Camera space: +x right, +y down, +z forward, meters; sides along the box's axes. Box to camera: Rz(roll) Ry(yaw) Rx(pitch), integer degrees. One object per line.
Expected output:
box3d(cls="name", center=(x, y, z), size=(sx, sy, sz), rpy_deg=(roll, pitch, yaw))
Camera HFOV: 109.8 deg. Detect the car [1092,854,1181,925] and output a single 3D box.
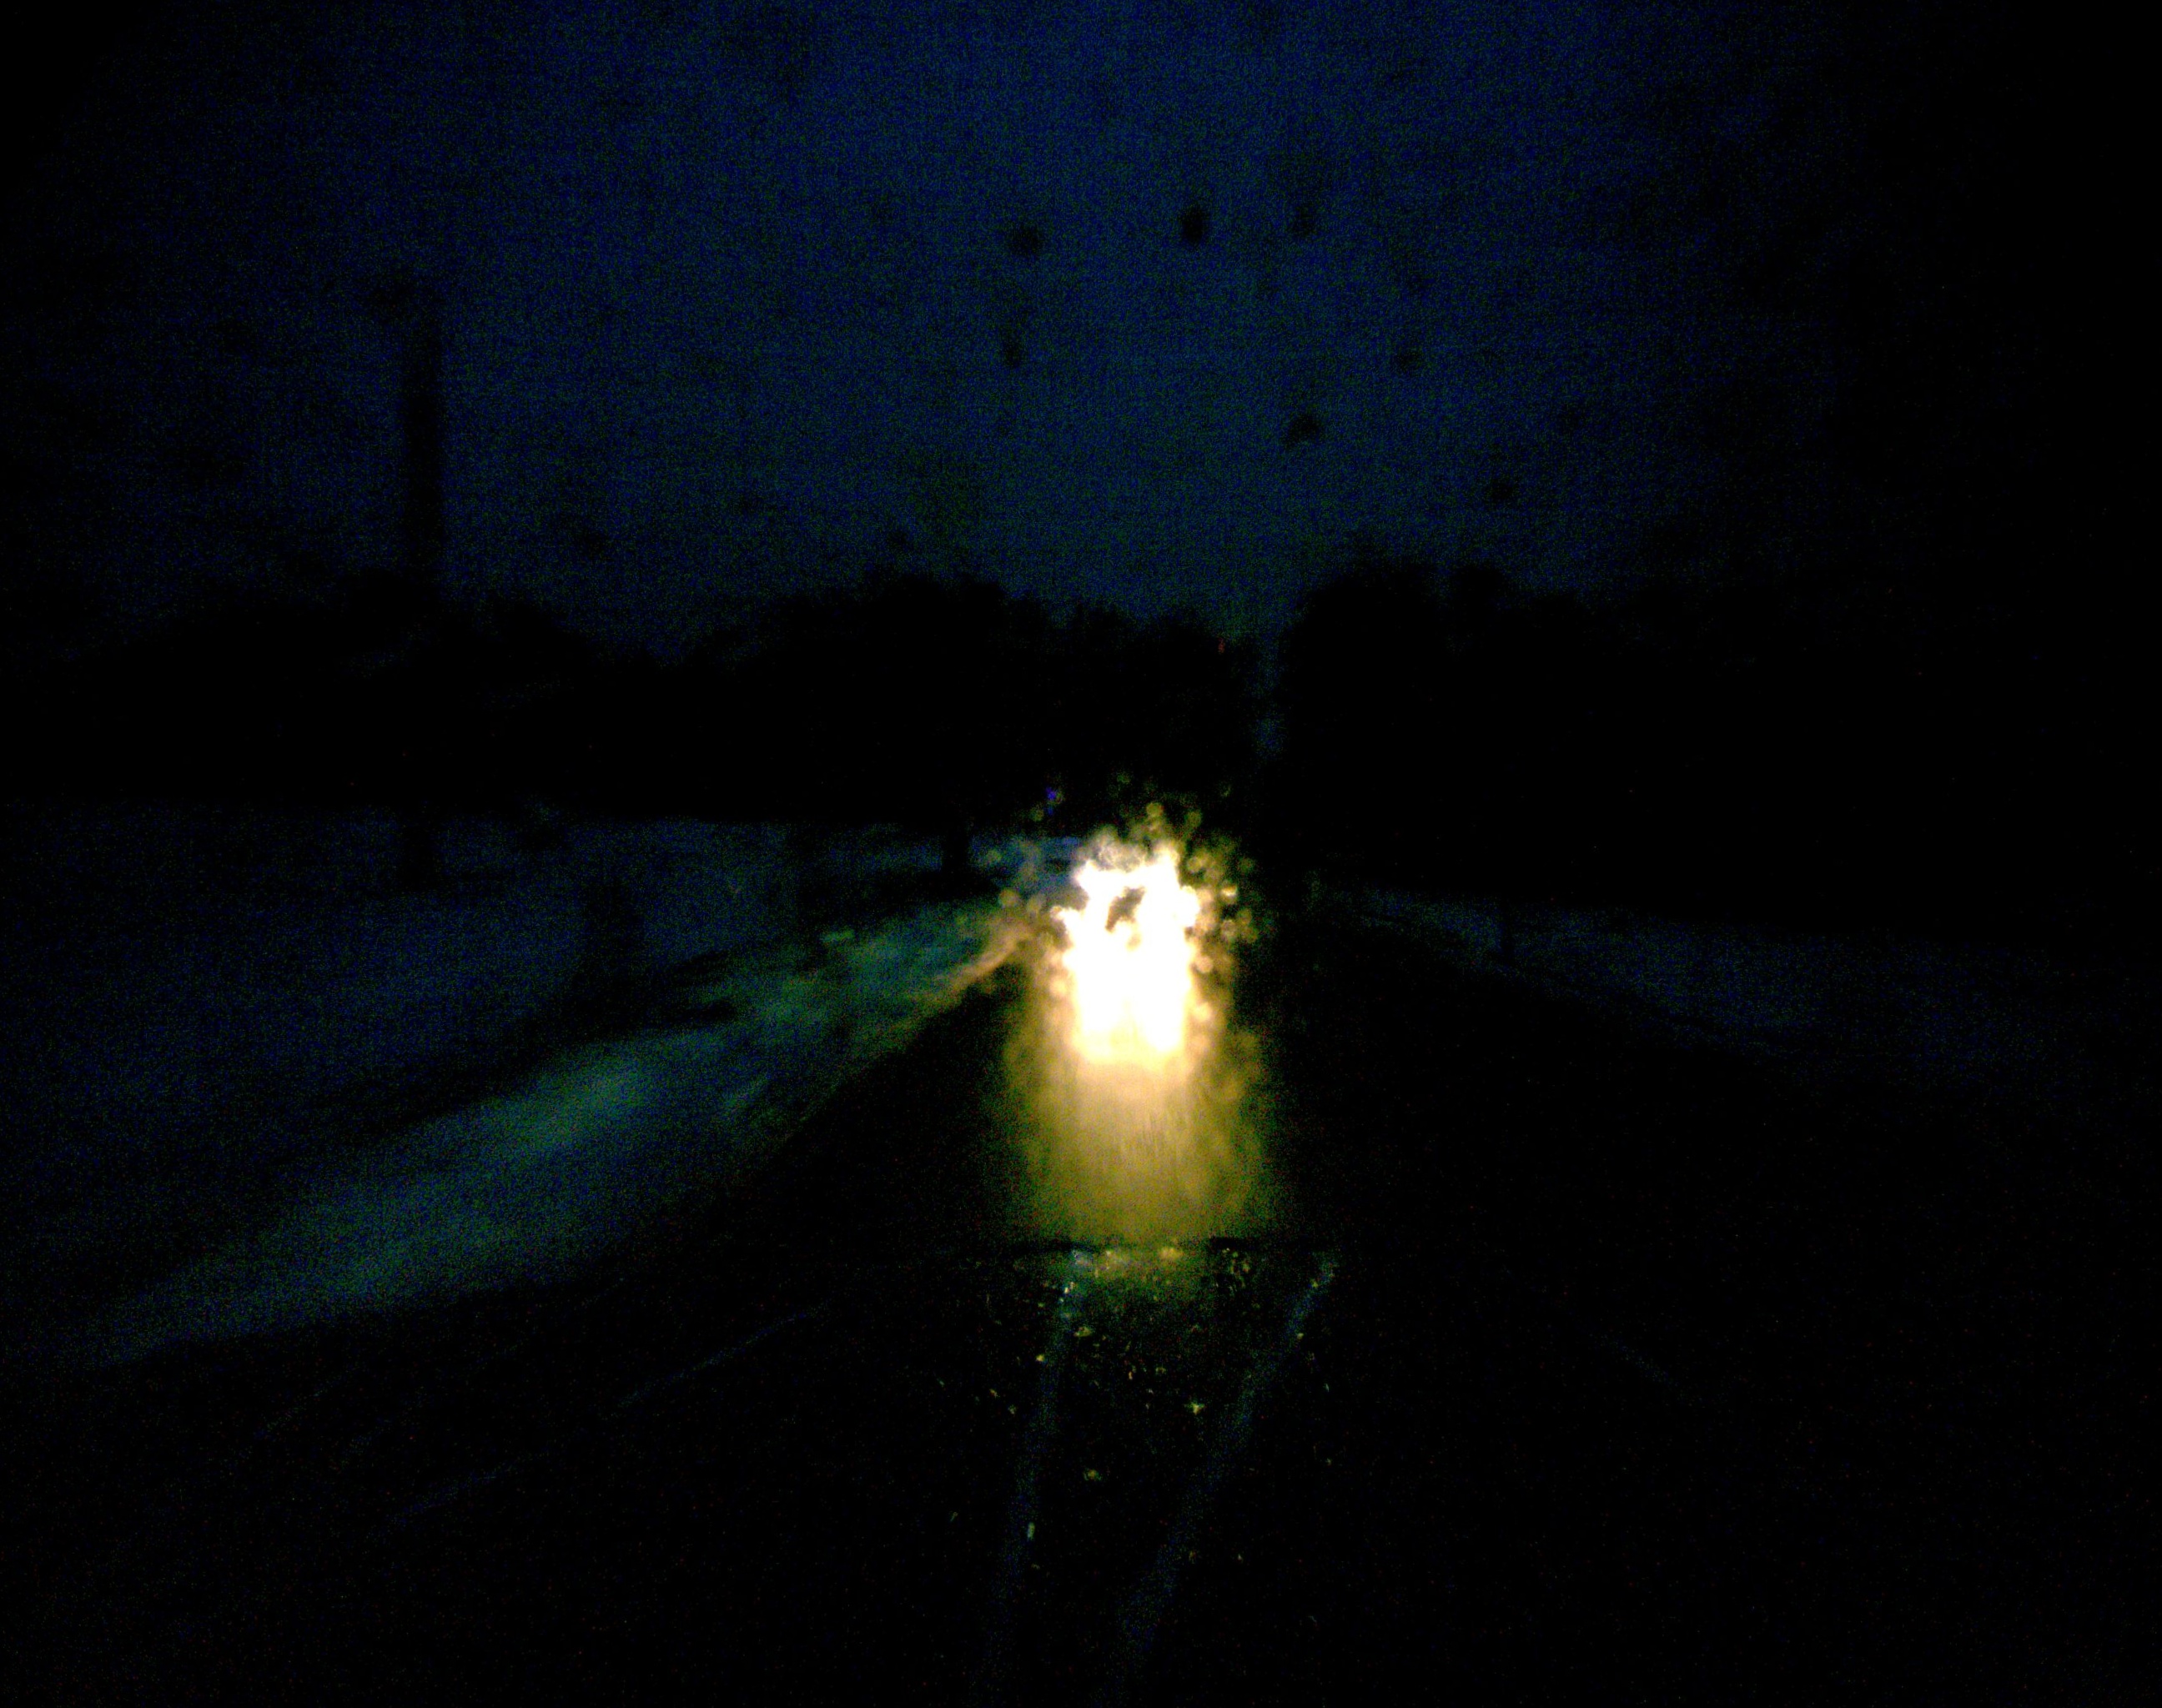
box3d(cls="car", center=(1.387, 0.744, 17.645), size=(1.648, 1.446, 3.683), rpy_deg=(0, 0, 11))
